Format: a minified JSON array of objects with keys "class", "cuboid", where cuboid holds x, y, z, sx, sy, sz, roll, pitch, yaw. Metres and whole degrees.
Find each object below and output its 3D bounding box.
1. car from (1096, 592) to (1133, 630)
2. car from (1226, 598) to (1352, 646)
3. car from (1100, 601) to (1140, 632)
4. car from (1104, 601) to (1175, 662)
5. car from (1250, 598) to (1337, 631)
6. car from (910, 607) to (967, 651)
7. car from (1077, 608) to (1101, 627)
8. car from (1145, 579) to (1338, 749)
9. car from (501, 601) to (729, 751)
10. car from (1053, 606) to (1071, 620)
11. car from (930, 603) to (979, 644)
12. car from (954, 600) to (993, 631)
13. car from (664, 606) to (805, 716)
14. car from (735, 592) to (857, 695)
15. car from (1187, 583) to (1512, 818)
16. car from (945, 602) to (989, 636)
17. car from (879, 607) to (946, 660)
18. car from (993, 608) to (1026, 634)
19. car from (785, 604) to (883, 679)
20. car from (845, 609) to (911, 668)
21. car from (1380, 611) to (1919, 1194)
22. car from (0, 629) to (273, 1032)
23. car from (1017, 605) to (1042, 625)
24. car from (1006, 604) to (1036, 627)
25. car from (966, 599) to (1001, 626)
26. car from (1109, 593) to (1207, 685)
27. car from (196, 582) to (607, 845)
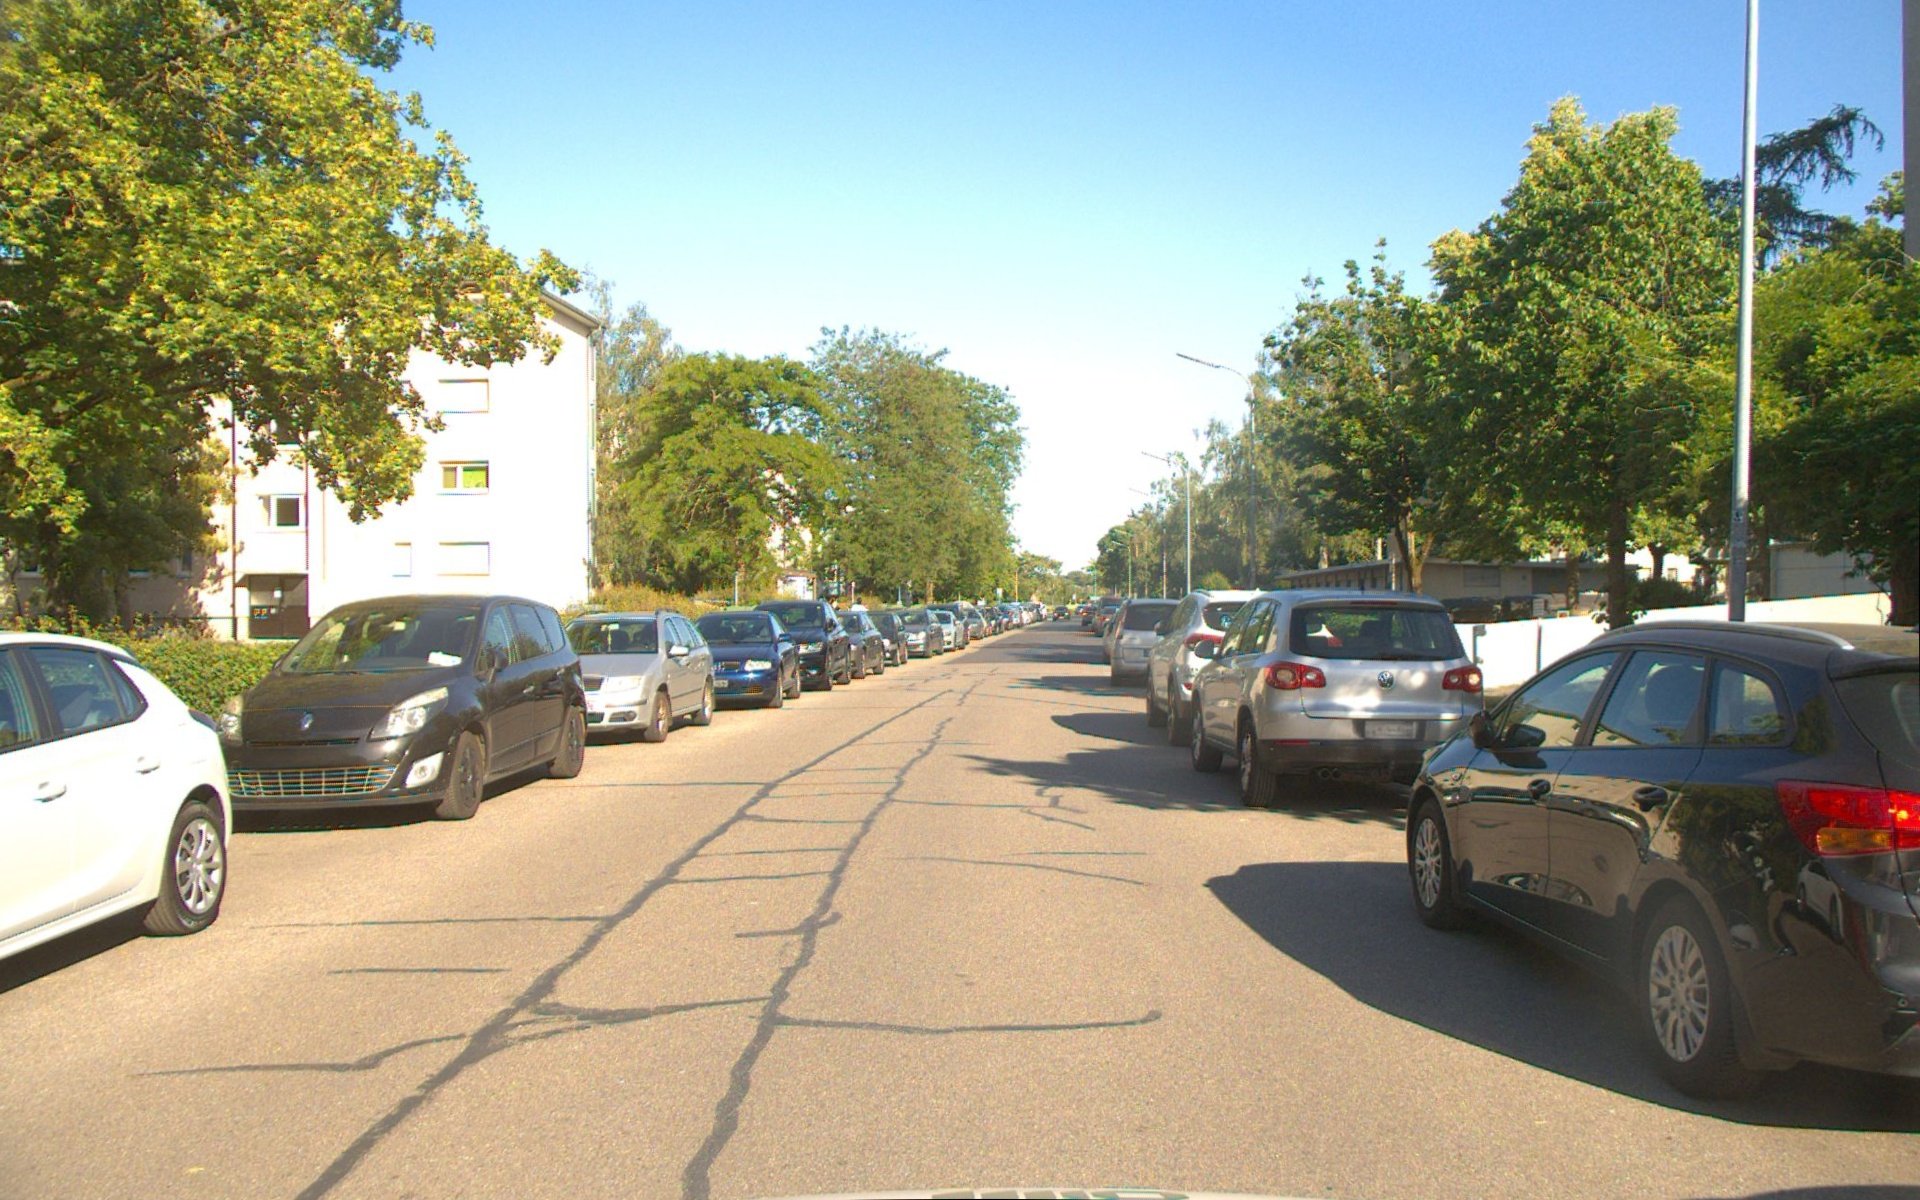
[{"class":"car","cuboid":[7.983,0.557,85.802,1.786,1.834,4.236,0,1,4]},{"class":"car","cuboid":[11.496,0.747,58.000,4.130,1.621,1.831,0,0,5]},{"class":"car","cuboid":[7.742,0.786,80.110,1.786,1.492,4.235,0,0,4]},{"class":"car","cuboid":[4.894,0.822,44.774,1.785,1.492,4.237,-2,0,7]},{"class":"car","cuboid":[16.817,0.739,83.547,4.130,1.557,1.831,0,-3,5]},{"class":"car","cuboid":[-0.701,0.971,57.160,1.477,1.388,3.469,-2,0,7]},{"class":"car","cuboid":[9.833,1.324,126.244,1.786,1.348,4.236,0,1,5]},{"class":"car","cuboid":[3.124,0.658,19.082,1.619,1.728,4.234,0,0,2]},{"class":"car","cuboid":[-3.960,0.815,19.657,1.625,1.512,4.054,-2,0,3]},{"class":"car","cuboid":[10.861,1.362,176.708,1.903,1.312,4.236,0,1,4]},{"class":"car","cuboid":[-0.203,0.900,64.954,1.477,1.459,3.469,-2,0,7]},{"class":"car","cuboid":[0.658,0.714,79.263,1.477,1.352,3.469,-2,0,7]},{"class":"car","cuboid":[-3.368,0.865,25.324,1.626,1.451,4.048,-2,0,-1]},{"class":"car","cuboid":[-2.984,0.750,30.847,1.625,1.718,4.051,-2,0,3]},{"class":"car","cuboid":[3.032,0.709,13.768,1.694,1.647,4.233,0,0,0]},{"class":"car","cuboid":[0.329,0.832,73.270,1.477,1.405,3.469,-2,0,7]},{"class":"car","cuboid":[-1.429,0.993,50.988,1.477,1.476,3.693,-2,0,7]},{"class":"car","cuboid":[3.157,1.293,105.300,1.785,1.491,4.237,0,1,6]},{"class":"car","cuboid":[-2.698,0.873,36.109,1.625,1.464,3.761,-2,0,3]},{"class":"car","cuboid":[-2.159,1.000,44.140,1.360,1.438,3.126,-2,0,3]},{"class":"car","cuboid":[3.082,0.813,6.458,1.648,1.482,4.290,1,0,-2]},{"class":"car","cuboid":[-4.380,0.899,6.496,1.636,1.446,3.902,-2,0,1]},{"class":"car","cuboid":[5.855,1.230,138.409,1.785,1.491,4.237,0,1,6]},{"class":"car","cuboid":[4.256,1.059,115.381,1.785,1.491,4.237,0,1,6]},{"class":"car","cuboid":[1.259,0.657,87.895,1.477,1.352,3.469,-2,0,7]},{"class":"car","cuboid":[3.796,0.708,32.248,1.662,1.670,4.235,0,0,4]},{"class":"car","cuboid":[-4.201,0.754,13.244,1.636,1.695,4.407,-2,0,2]}]
